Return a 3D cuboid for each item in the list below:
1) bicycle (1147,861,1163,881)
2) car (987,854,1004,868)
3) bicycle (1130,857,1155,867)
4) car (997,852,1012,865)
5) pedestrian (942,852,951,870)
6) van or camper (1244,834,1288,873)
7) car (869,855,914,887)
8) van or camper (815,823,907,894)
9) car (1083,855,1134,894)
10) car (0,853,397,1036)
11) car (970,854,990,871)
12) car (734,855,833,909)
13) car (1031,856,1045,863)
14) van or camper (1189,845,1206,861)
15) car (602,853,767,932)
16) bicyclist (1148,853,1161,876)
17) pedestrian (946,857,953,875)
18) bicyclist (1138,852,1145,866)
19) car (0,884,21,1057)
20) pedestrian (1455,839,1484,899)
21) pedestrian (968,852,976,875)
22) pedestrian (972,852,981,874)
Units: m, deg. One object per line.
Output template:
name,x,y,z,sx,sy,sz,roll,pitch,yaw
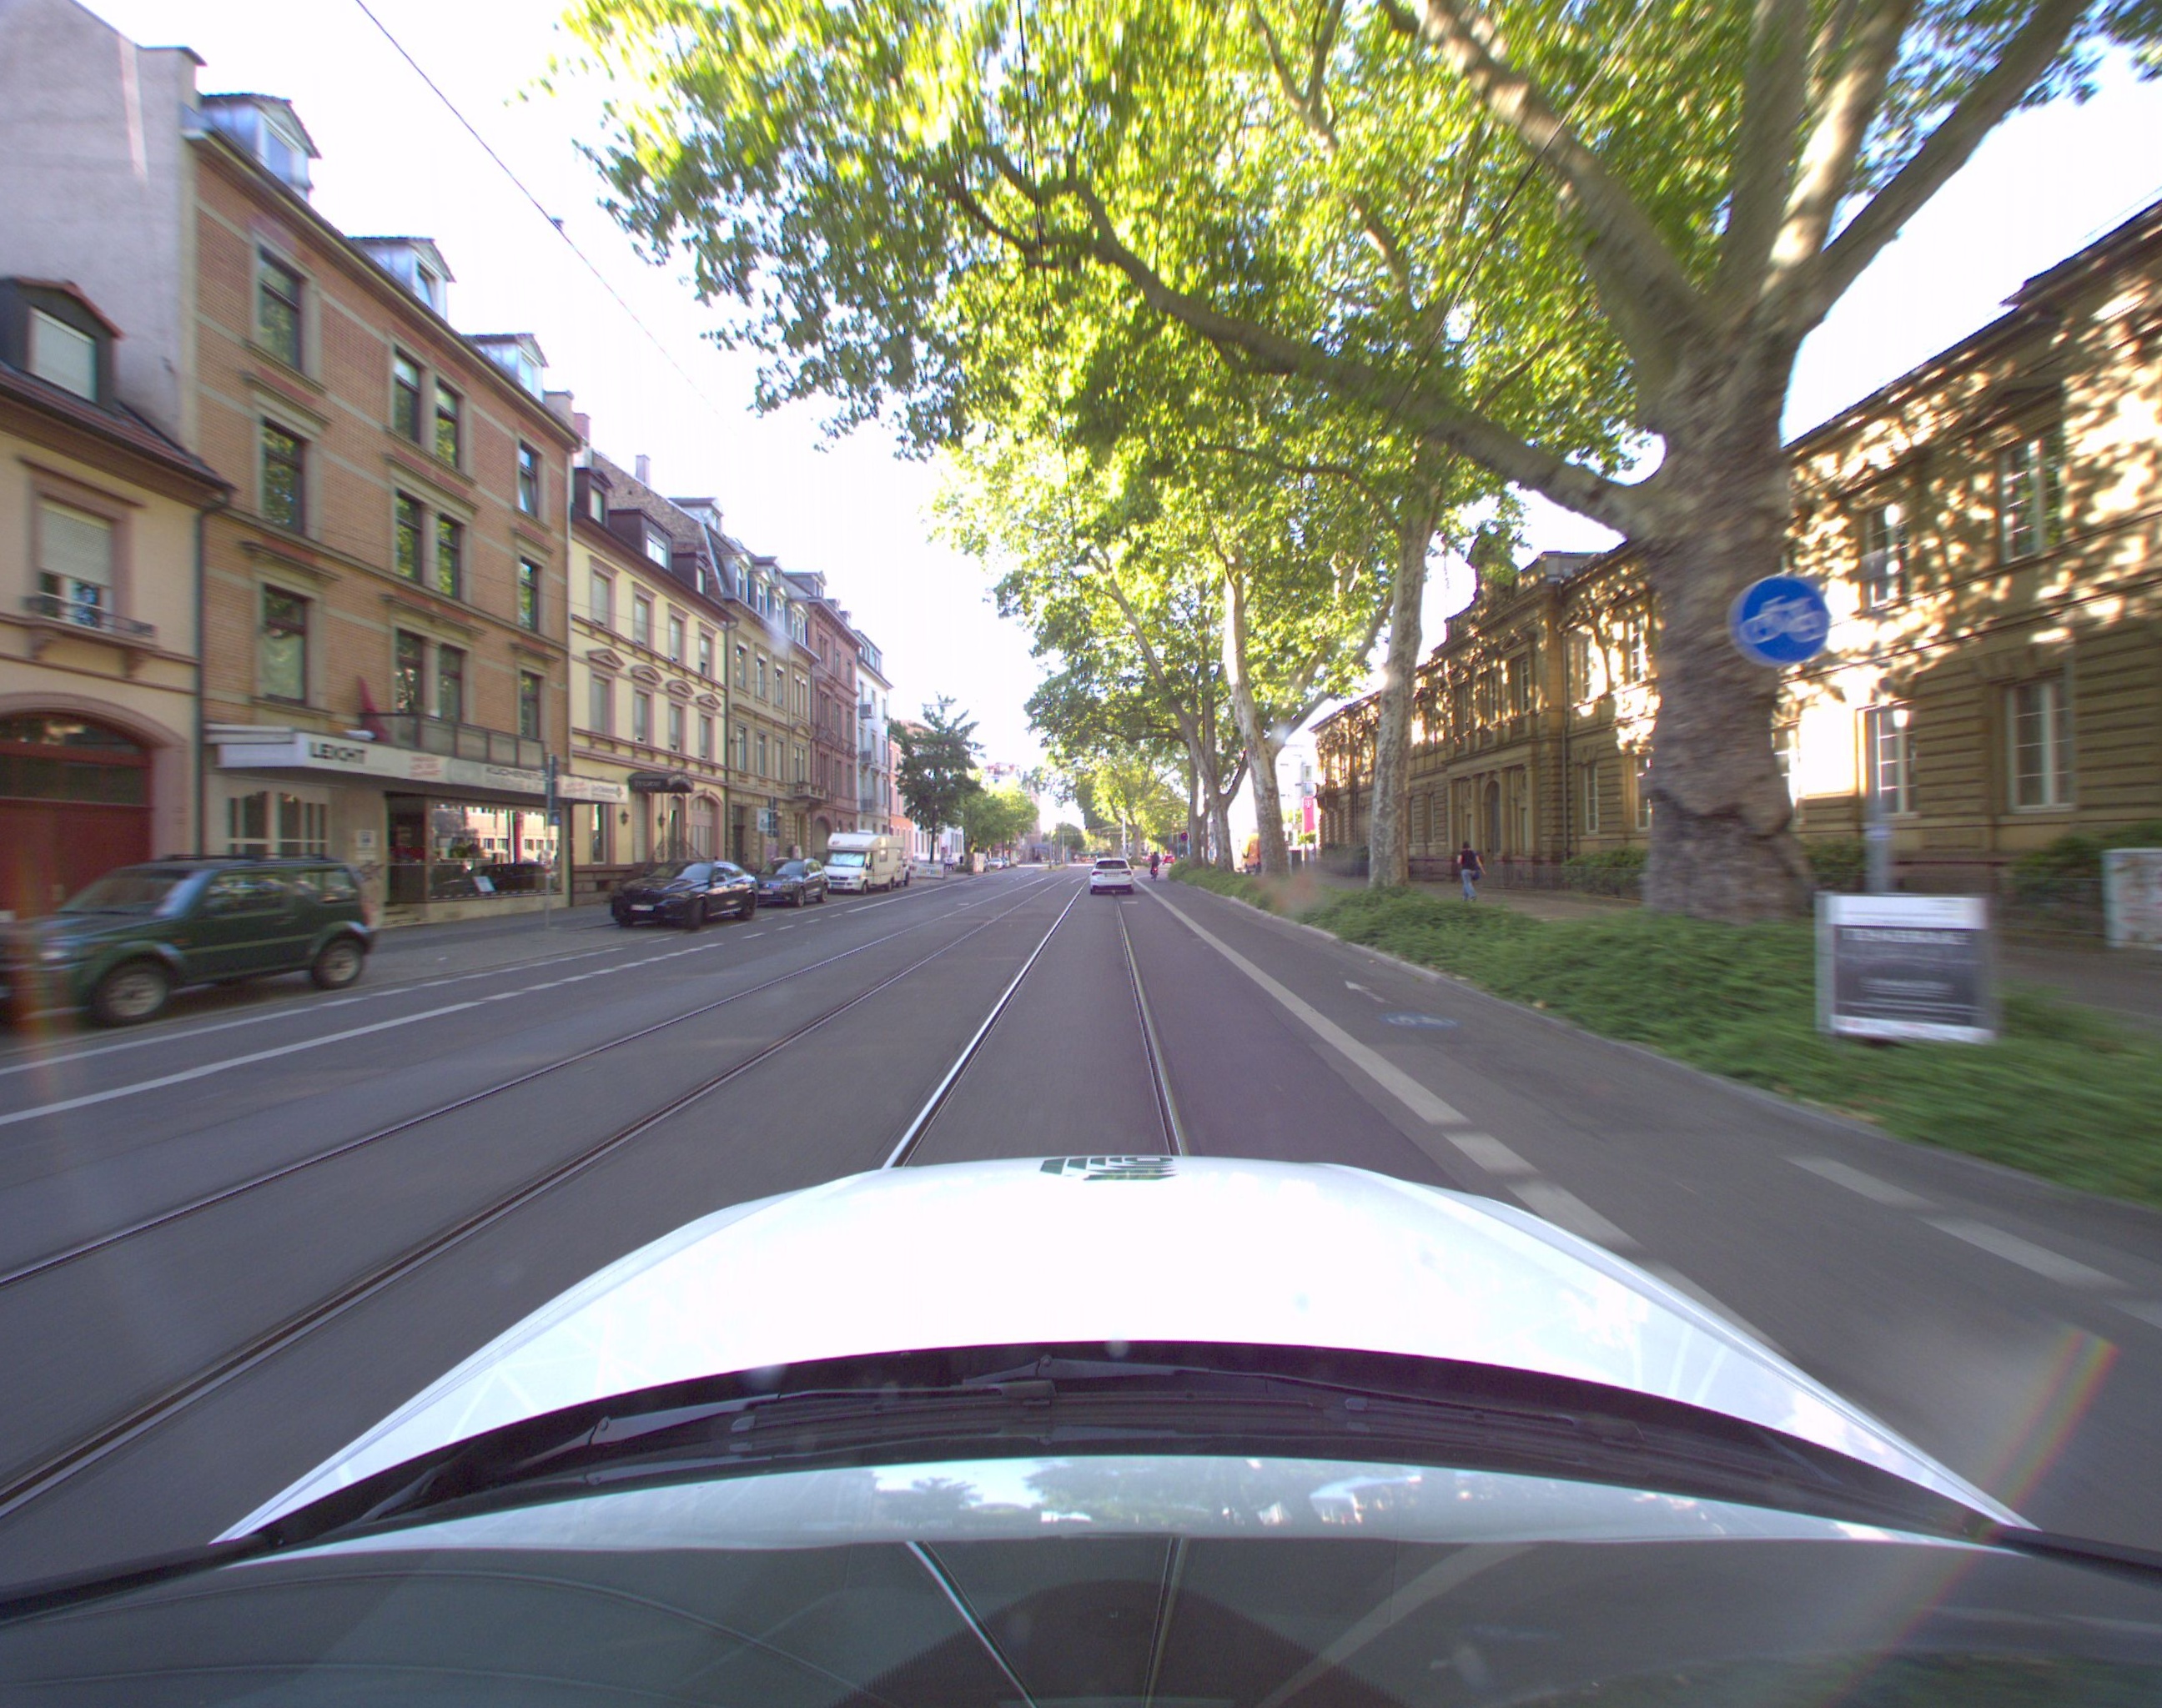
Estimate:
bicycle,4.303,0.984,47.631,0.677,1.155,2.964,0,0,1
car,-10.789,0.864,102.554,1.788,1.726,3.783,0,0,-1
bicycle,7.043,0.904,92.569,2.749,0.999,0.595,0,-1,15
car,-10.607,0.629,112.759,1.788,1.726,3.783,0,0,-1
pedestrian,-14.826,0.738,89.561,0.740,2.002,0.652,0,-1,39
van or camper,12.225,-0.014,54.138,2.019,2.464,5.111,0,0,3
car,-10.547,0.916,45.506,1.636,1.726,3.783,0,0,-1
van or camper,-10.392,0.204,39.244,2.208,3.140,7.117,0,0,2
car,1.065,0.781,32.984,1.837,1.480,3.836,0,0,-2
car,-10.386,0.862,9.582,1.551,1.732,3.685,0,0,0
car,-10.507,0.832,85.144,1.636,1.726,3.783,0,0,-1
car,-10.548,0.925,29.264,1.958,1.781,4.469,0,0,-1
car,-11.798,1.588,223.344,3.773,1.818,1.807,0,0,6
van or camper,17.019,-0.128,119.496,1.986,2.343,4.001,0,0,1
car,-10.268,0.909,21.623,1.958,1.781,4.935,2,0,-1
bicyclist,4.297,0.588,47.608,0.676,1.339,0.525,0,-1,0
pedestrian,-13.036,1.176,80.977,0.599,1.773,0.700,1,-1,-4
bicyclist,6.875,0.590,92.600,0.731,1.589,0.589,-1,0,13
car,-10.303,1.012,4.966,1.821,1.502,4.449,0,0,0
pedestrian,10.823,0.408,22.680,0.642,1.633,0.876,0,-1,20
pedestrian,-9.584,0.823,71.539,0.598,2.002,0.750,0,0,5
pedestrian,-9.391,0.806,73.402,0.643,2.002,0.750,0,0,5
